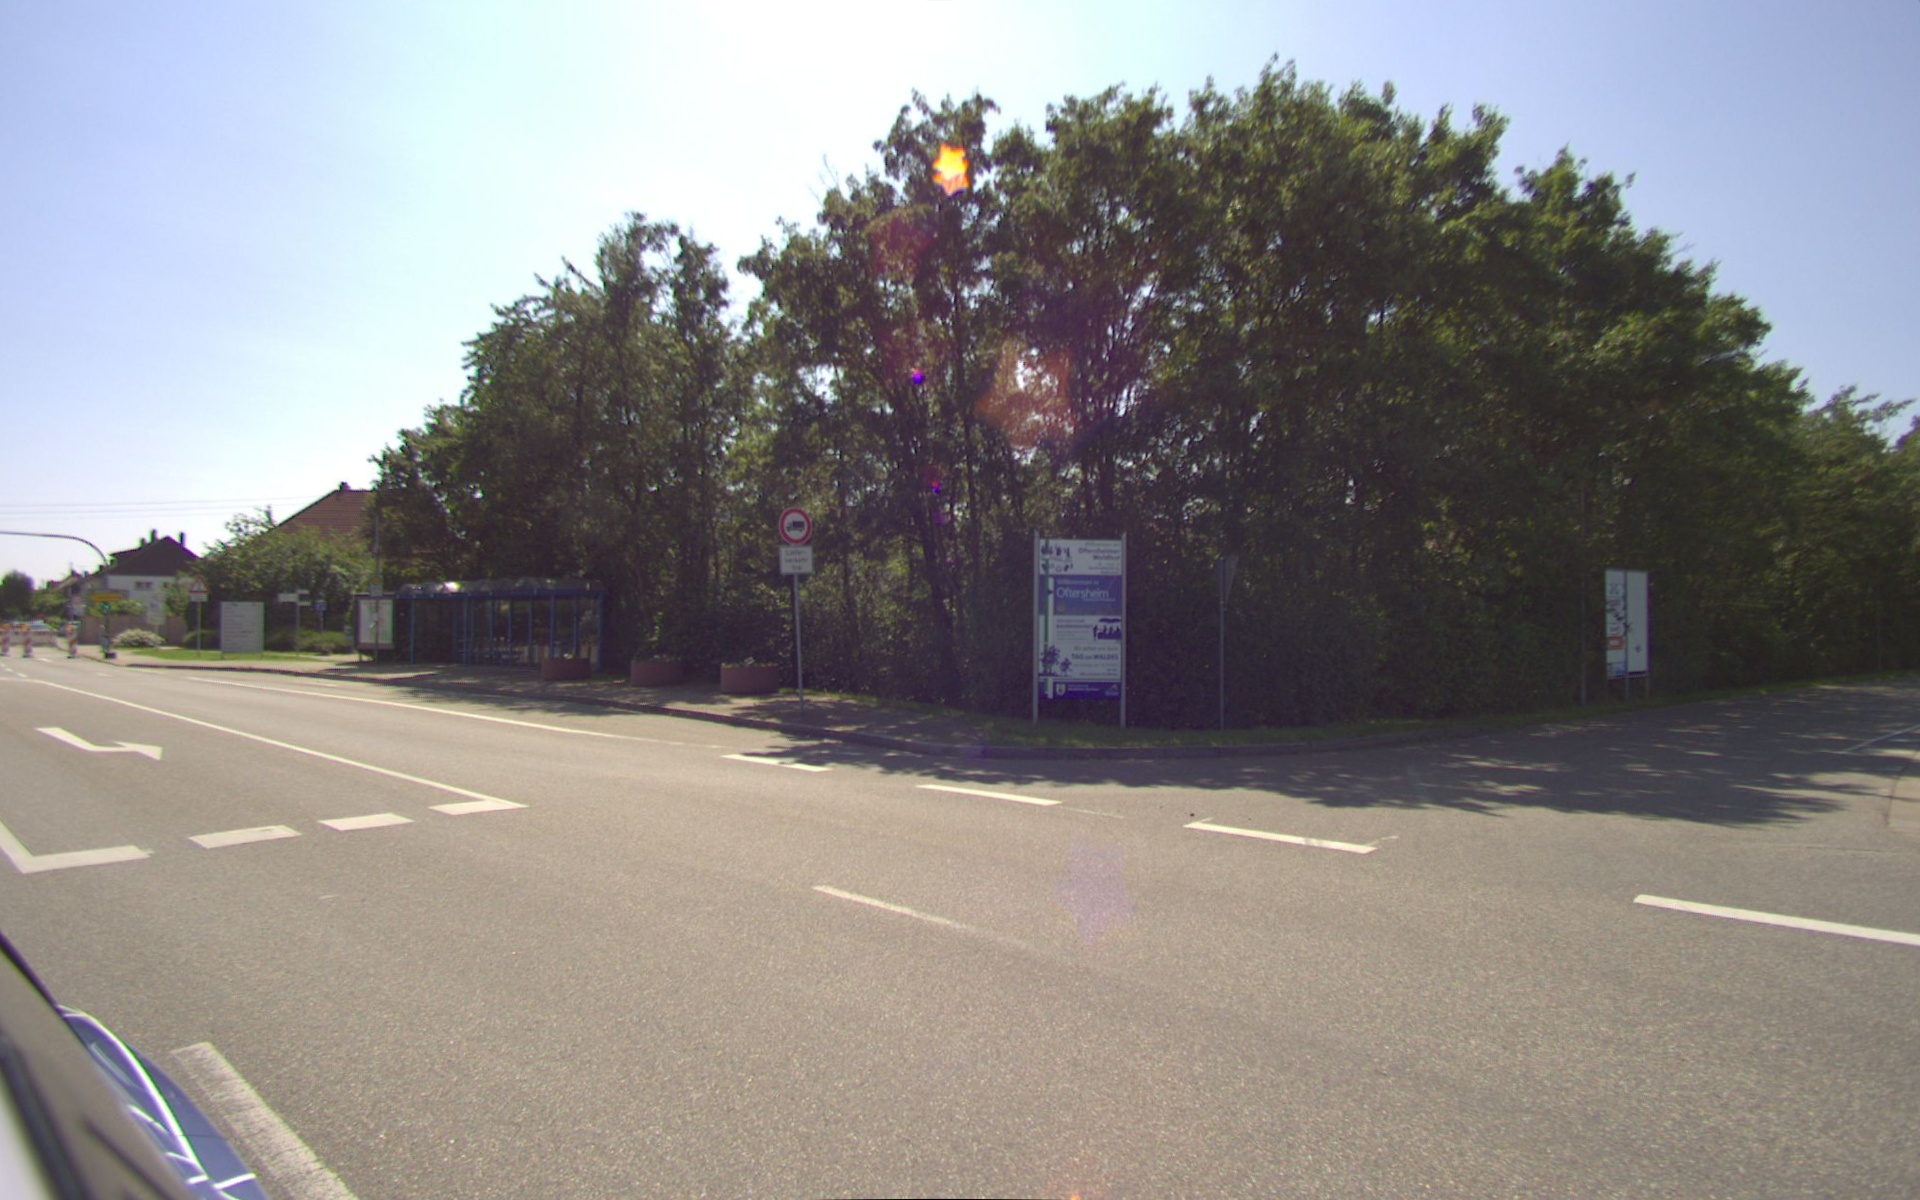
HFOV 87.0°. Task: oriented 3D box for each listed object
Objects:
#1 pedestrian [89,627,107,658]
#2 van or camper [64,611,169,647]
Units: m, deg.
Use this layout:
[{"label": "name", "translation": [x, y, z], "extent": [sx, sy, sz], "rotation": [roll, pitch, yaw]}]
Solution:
[{"label": "pedestrian", "translation": [-46.333, 2.258, 54.404], "extent": [0.688, 1.620, 0.607], "rotation": [-2, 1, 45]}, {"label": "van or camper", "translation": [-68.832, 2.378, 82.660], "extent": [2.285, 2.866, 6.187], "rotation": [-1, -2, 35]}]
